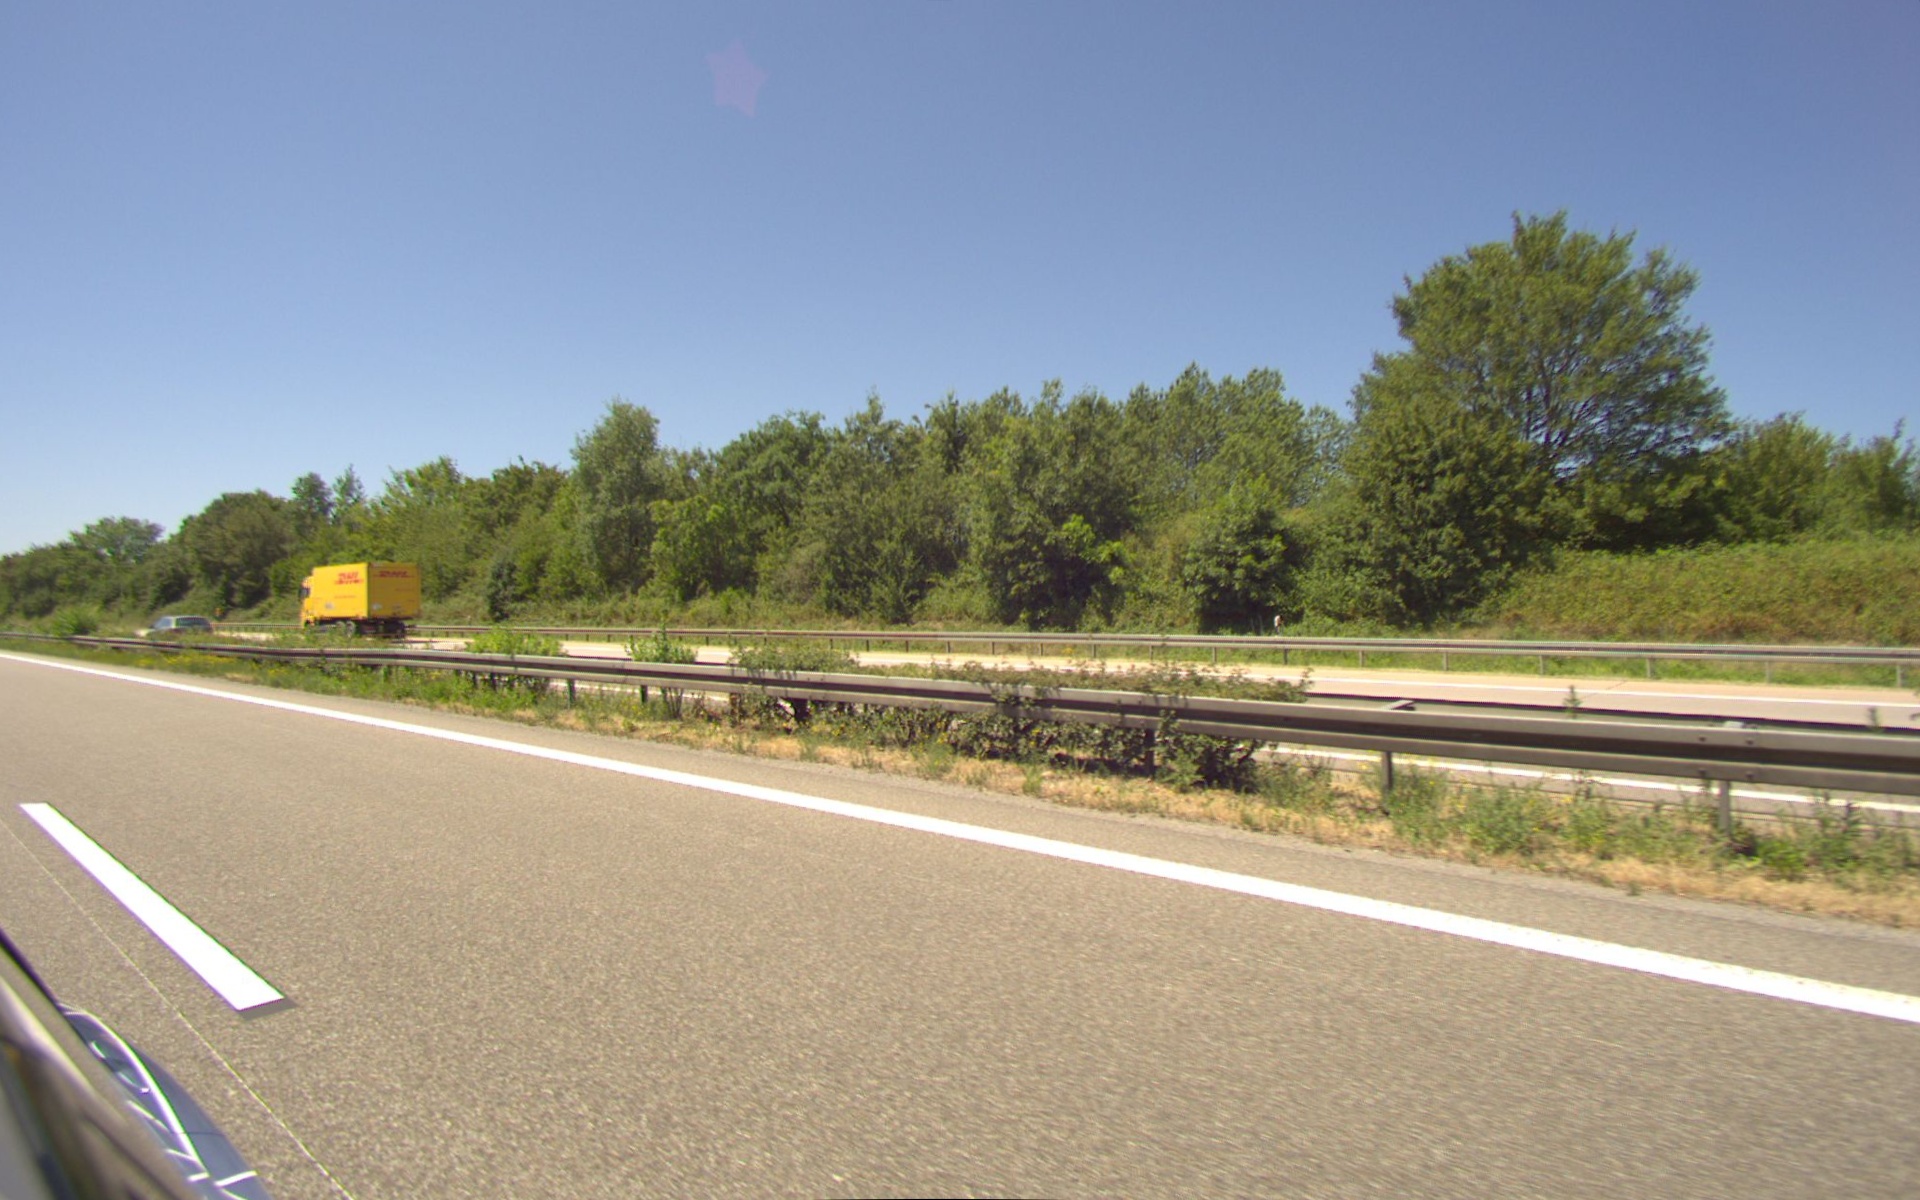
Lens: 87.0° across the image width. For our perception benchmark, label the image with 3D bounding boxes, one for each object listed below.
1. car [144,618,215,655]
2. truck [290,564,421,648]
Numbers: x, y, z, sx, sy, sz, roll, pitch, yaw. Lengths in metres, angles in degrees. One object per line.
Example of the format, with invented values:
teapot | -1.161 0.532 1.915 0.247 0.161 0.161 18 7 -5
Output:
car | -35.791 1.640 46.367 3.977 1.583 1.764 -1 -1 40
truck | -32.353 0.311 53.886 10.786 4.071 2.721 0 0 41
